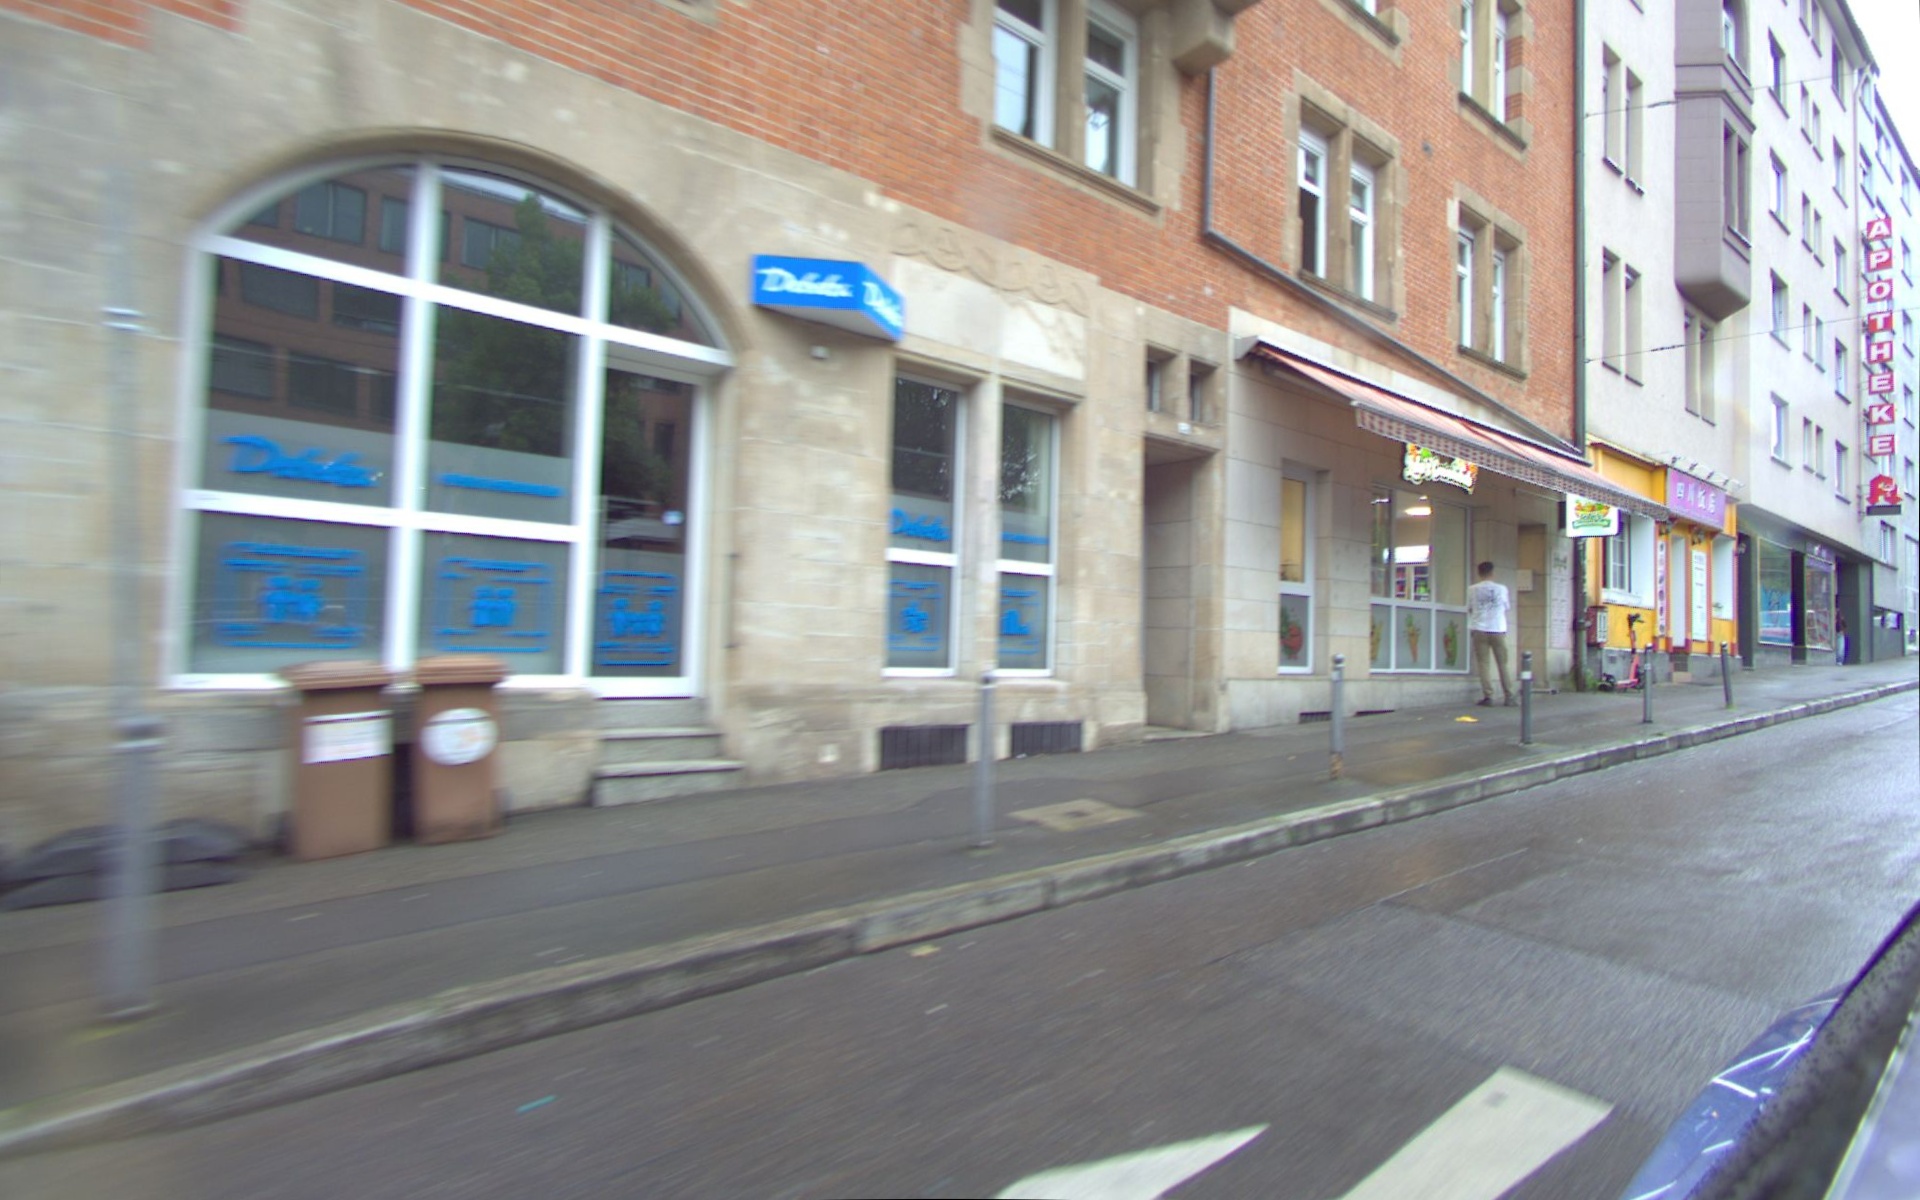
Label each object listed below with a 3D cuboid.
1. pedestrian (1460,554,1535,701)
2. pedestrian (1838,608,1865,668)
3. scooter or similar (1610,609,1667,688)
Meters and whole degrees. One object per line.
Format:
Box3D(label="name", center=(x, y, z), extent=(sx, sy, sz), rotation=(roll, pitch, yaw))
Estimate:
Box3D(label="pedestrian", center=(6.975, 0.342, 13.159), extent=(0.568, 1.852, 0.564), rotation=(2, 2, 0))
Box3D(label="pedestrian", center=(25.199, 1.067, 28.613), extent=(0.478, 1.666, 0.327), rotation=(-1, -2, 33))
Box3D(label="scooter or similar", center=(10.931, 0.763, 16.292), extent=(1.170, 1.237, 0.258), rotation=(1, -1, -30))
